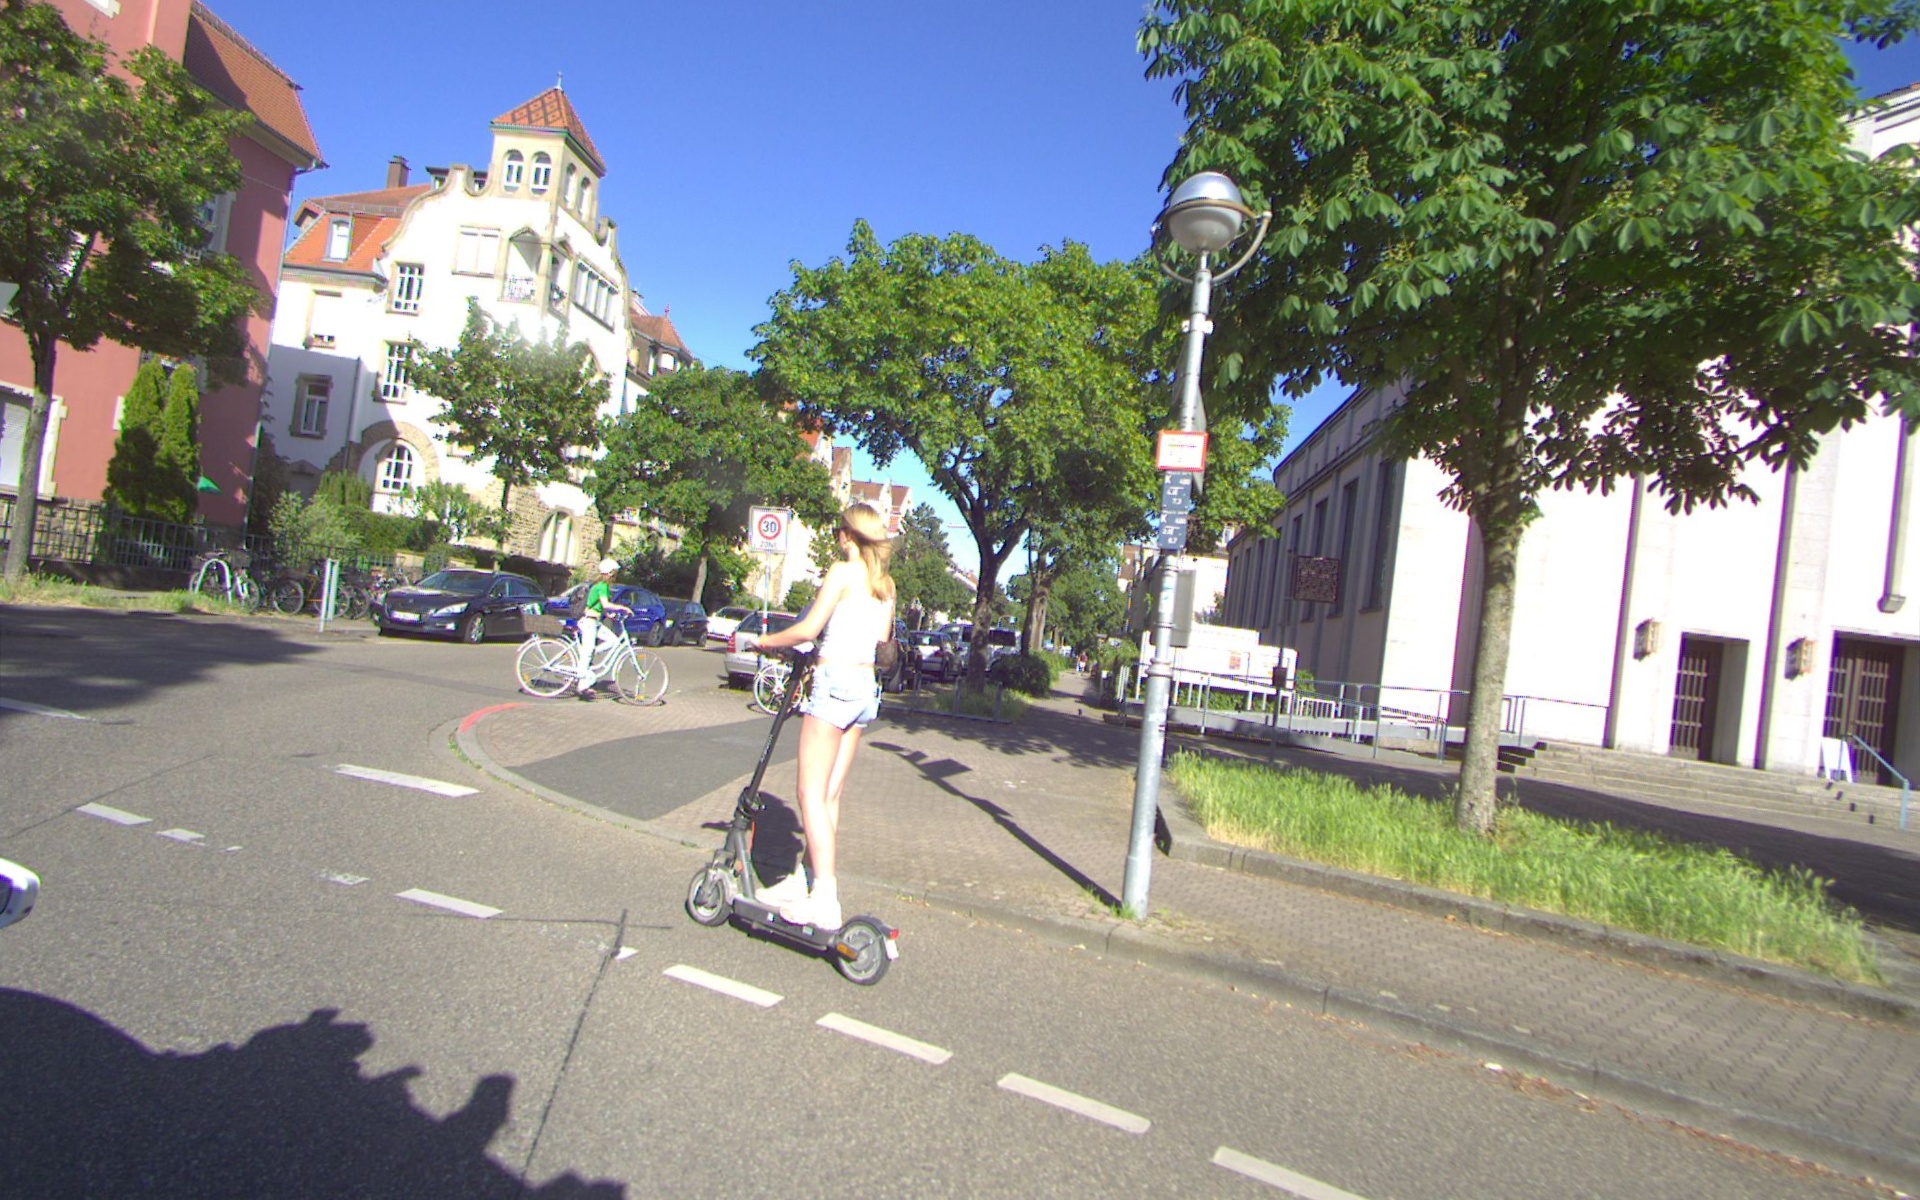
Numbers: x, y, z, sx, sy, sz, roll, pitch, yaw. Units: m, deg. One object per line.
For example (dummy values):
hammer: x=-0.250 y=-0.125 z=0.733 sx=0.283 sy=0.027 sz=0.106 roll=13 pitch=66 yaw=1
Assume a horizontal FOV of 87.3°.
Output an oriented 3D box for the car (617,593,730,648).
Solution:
car: x=-8.936 y=0.717 z=31.799 sx=1.775 sy=1.467 sz=4.404 roll=5 pitch=-2 yaw=7

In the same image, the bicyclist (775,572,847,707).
bicyclist: x=-2.031 y=0.534 z=13.693 sx=0.712 sy=1.735 sz=0.644 roll=7 pitch=-1 yaw=-16

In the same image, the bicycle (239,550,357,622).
bicycle: x=-13.247 y=-0.269 z=20.171 sx=1.800 sy=1.120 sz=0.500 roll=9 pitch=-1 yaw=-8

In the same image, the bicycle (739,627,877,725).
bicycle: x=-2.074 y=1.030 z=13.688 sx=1.691 sy=1.120 sz=0.644 roll=7 pitch=-1 yaw=-16

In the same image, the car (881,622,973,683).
car: x=-0.914 y=1.639 z=30.825 sx=1.775 sy=1.490 sz=4.345 roll=8 pitch=-2 yaw=10

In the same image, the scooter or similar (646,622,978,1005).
scooter or similar: x=-0.623 y=0.820 z=4.249 sx=1.087 sy=1.298 sz=0.632 roll=7 pitch=-1 yaw=29

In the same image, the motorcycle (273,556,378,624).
motorcycle: x=-13.135 y=-0.196 z=20.845 sx=1.695 sy=1.120 sz=0.501 roll=9 pitch=0 yaw=0

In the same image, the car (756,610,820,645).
car: x=-8.180 y=1.357 z=48.278 sx=1.775 sy=1.413 sz=4.404 roll=5 pitch=-2 yaw=7

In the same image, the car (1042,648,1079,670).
car: x=14.561 y=8.517 z=145.391 sx=4.907 sy=2.541 sz=2.002 roll=8 pitch=-1 yaw=3

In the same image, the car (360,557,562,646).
car: x=-10.079 y=0.108 z=20.769 sx=1.775 sy=1.501 sz=4.342 roll=5 pitch=-2 yaw=2

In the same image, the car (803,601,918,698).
car: x=-2.127 y=1.112 z=22.811 sx=1.776 sy=1.748 sz=4.343 roll=8 pitch=-2 yaw=3

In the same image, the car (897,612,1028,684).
car: x=0.117 y=1.844 z=38.671 sx=4.690 sy=2.024 sz=1.811 roll=8 pitch=-1 yaw=3

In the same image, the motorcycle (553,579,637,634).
motorcycle: x=-12.023 y=0.218 z=33.210 sx=0.944 sy=1.446 sz=2.273 roll=8 pitch=-2 yaw=41

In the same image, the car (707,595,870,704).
car: x=-2.862 y=0.861 z=17.787 sx=1.776 sy=1.432 sz=4.343 roll=8 pitch=-2 yaw=3

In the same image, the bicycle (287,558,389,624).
bicycle: x=-13.200 y=-0.185 z=21.374 sx=1.695 sy=1.120 sz=0.501 roll=9 pitch=0 yaw=0

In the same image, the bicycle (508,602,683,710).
bicycle: x=-4.411 y=0.687 z=12.225 sx=1.842 sy=1.120 sz=0.592 roll=7 pitch=-2 yaw=-29

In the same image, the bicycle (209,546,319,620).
bicycle: x=-13.408 y=-0.320 z=19.391 sx=1.694 sy=1.128 sz=0.546 roll=9 pitch=0 yaw=8

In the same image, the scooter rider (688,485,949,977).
scooter rider: x=-0.581 y=0.507 z=4.250 sx=0.621 sy=1.853 sz=0.625 roll=7 pitch=-1 yaw=29

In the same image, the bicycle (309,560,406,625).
bicycle: x=-13.158 y=-0.159 z=21.982 sx=1.695 sy=1.120 sz=0.501 roll=9 pitch=0 yaw=4

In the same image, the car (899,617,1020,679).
car: x=0.030 y=1.999 z=42.054 sx=4.689 sy=1.862 sz=1.812 roll=8 pitch=-1 yaw=6

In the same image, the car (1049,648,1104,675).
car: x=10.636 y=5.644 z=91.969 sx=4.690 sy=1.764 sz=1.811 roll=8 pitch=-1 yaw=3

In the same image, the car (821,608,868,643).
car: x=-7.153 y=1.621 z=62.558 sx=1.775 sy=1.953 sz=4.404 roll=5 pitch=-2 yaw=7

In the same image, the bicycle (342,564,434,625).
bicycle: x=-13.054 y=-0.124 z=22.981 sx=1.695 sy=1.120 sz=0.516 roll=9 pitch=0 yaw=4

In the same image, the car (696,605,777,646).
car: x=-9.025 y=1.066 z=40.969 sx=1.775 sy=1.413 sz=4.404 roll=5 pitch=-2 yaw=7

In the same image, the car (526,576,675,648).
car: x=-9.257 y=0.396 z=26.309 sx=1.775 sy=1.580 sz=4.404 roll=5 pitch=-2 yaw=7

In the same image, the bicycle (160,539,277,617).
bicycle: x=-13.560 y=-0.395 z=18.406 sx=1.694 sy=1.128 sz=0.546 roll=9 pitch=0 yaw=8

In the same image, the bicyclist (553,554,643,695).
bicyclist: x=-4.401 y=0.304 z=12.217 sx=0.795 sy=1.600 sz=0.592 roll=7 pitch=-1 yaw=-28
